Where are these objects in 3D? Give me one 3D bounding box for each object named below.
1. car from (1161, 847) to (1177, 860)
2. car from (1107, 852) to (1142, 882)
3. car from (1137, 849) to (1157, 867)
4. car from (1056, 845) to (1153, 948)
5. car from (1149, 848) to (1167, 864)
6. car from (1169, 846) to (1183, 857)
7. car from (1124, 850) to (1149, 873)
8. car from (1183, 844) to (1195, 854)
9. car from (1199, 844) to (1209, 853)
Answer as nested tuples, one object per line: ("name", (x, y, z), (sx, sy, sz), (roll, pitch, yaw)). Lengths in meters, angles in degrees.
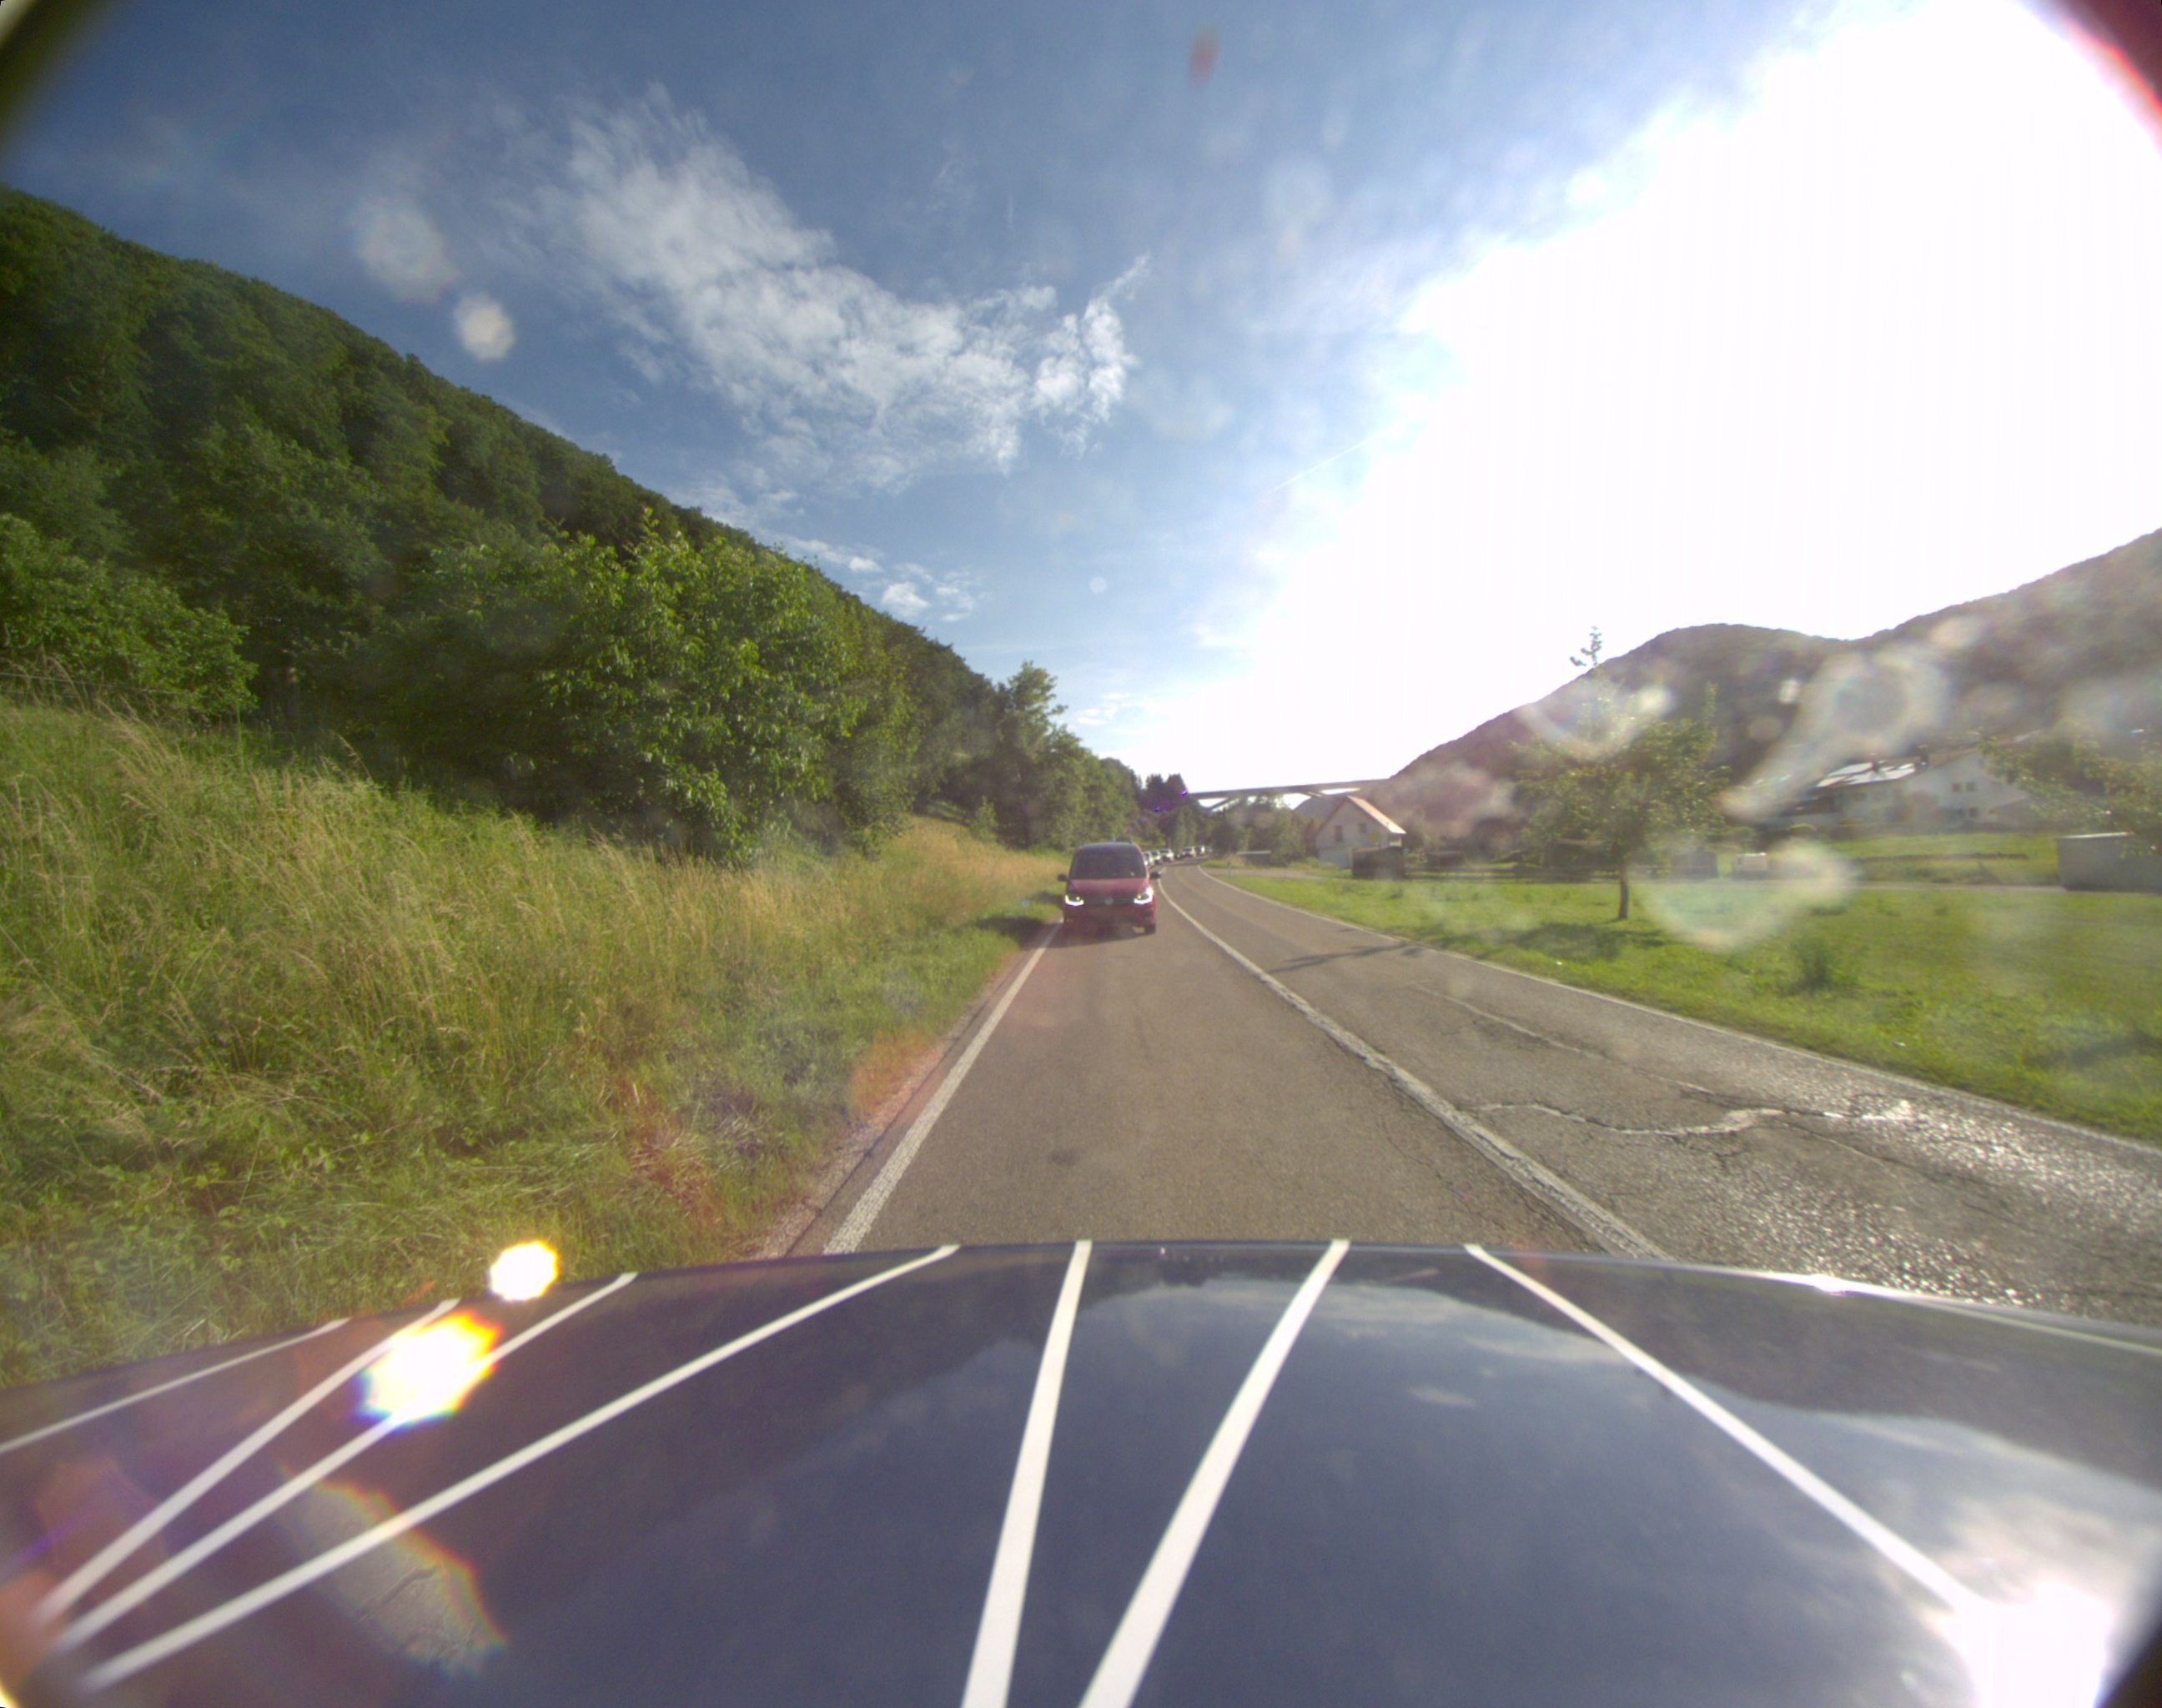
("car", (10.370, -0.073, 89.471), (1.630, 1.470, 3.679), (-2, 1, 3))
("car", (2.424, 0.689, 41.438), (1.629, 1.470, 3.680), (-2, 1, 6))
("car", (5.796, 0.323, 66.721), (1.629, 1.470, 3.680), (-2, 1, 6))
("car", (0.511, 0.731, 15.377), (1.649, 1.762, 4.000), (-2, 1, 3))
("car", (7.734, 0.215, 76.735), (1.630, 1.470, 3.679), (-2, 1, 3))
("car", (13.071, -0.360, 104.247), (1.629, 1.470, 3.681), (-2, 1, 10))
("car", (4.030, 0.511, 54.995), (1.629, 1.470, 3.680), (-2, 1, 6))
("car", (17.115, -0.859, 120.339), (1.629, 1.470, 3.680), (-2, 1, 6))
("car", (21.875, -1.010, 135.256), (1.629, 1.470, 3.681), (-2, 1, 10))
